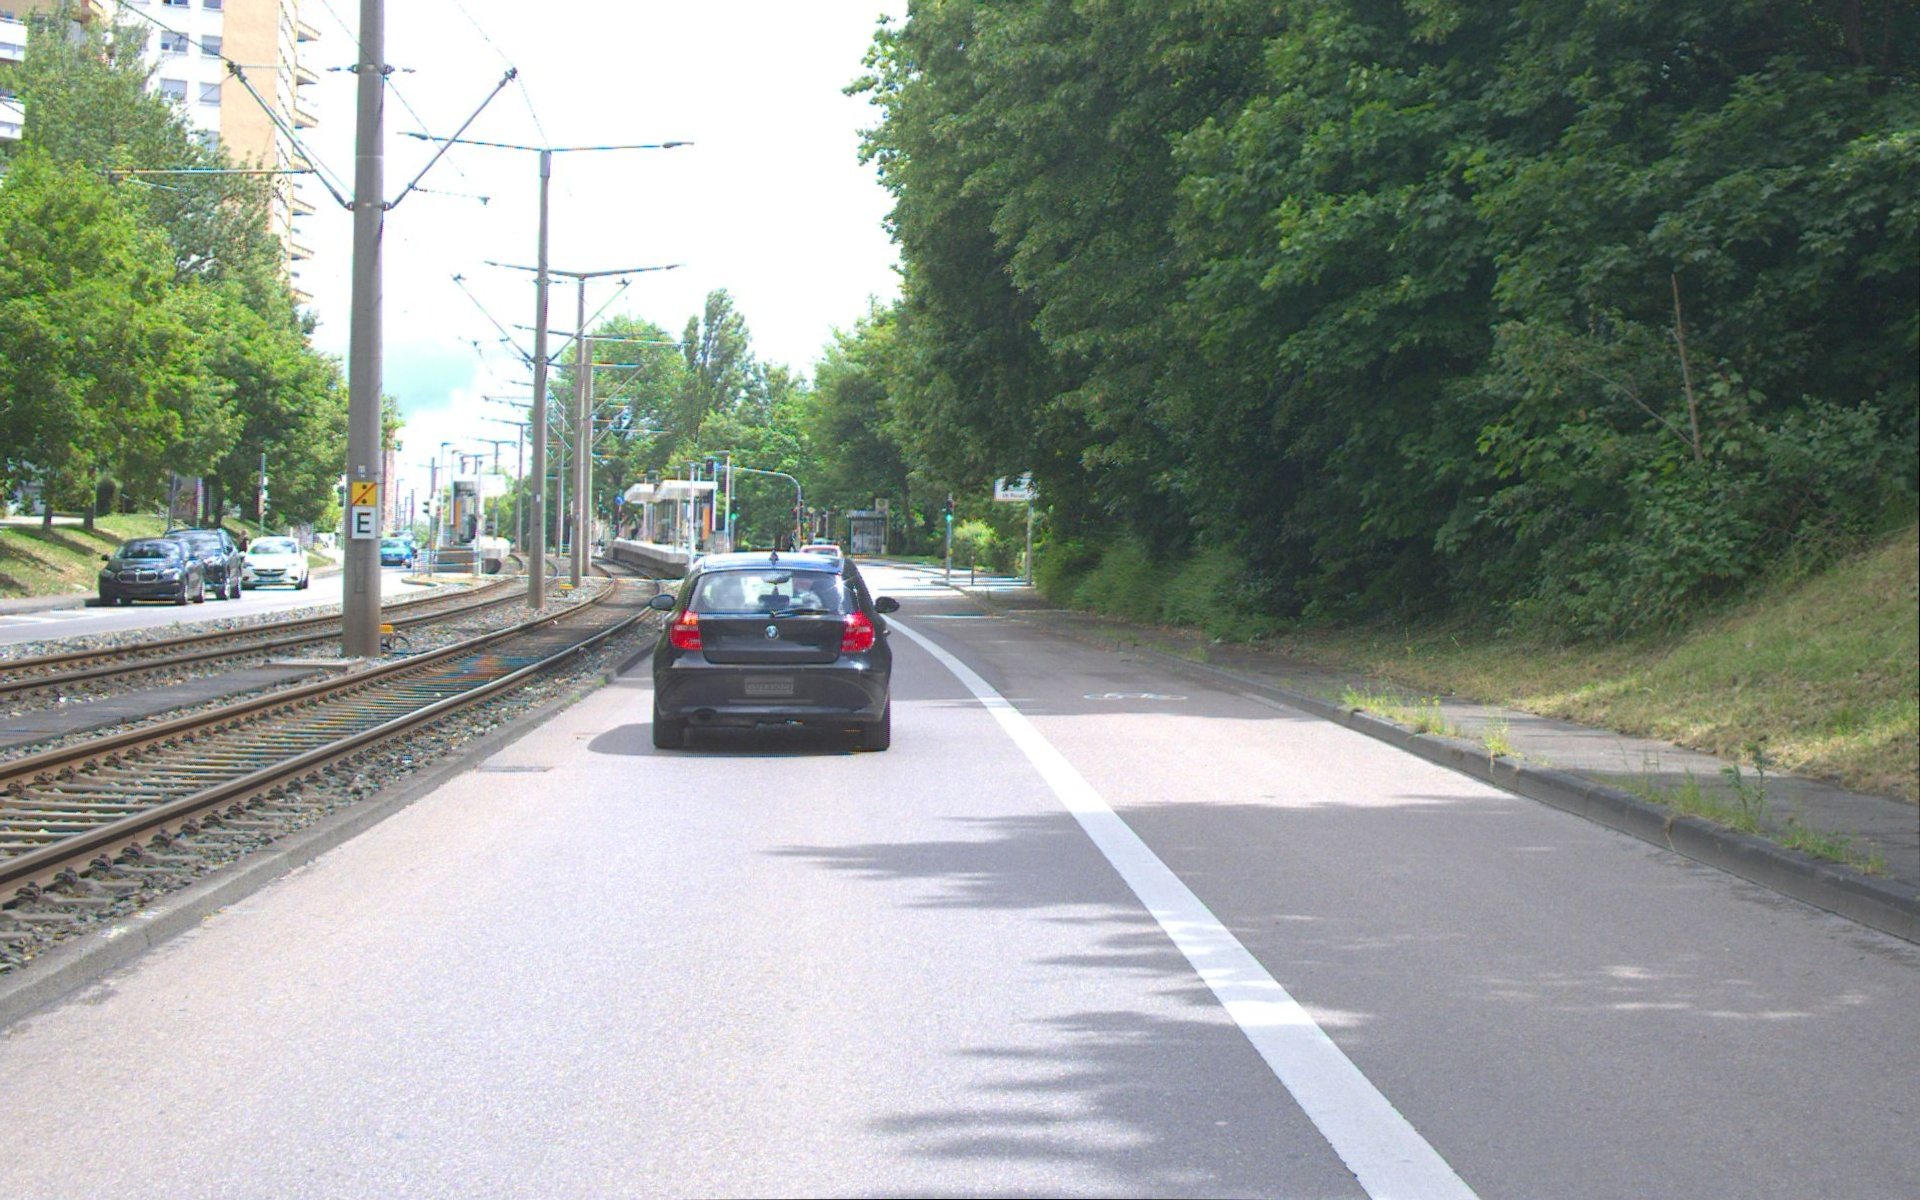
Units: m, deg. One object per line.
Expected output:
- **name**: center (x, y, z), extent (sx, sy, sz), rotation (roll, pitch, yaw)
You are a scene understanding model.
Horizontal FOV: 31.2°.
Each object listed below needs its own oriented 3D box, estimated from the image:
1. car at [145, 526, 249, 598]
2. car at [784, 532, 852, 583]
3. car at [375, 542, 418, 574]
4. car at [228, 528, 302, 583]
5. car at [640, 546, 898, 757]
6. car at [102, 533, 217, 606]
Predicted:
- **car**: center (-17.690, -0.877, 79.836), extent (1.774, 1.624, 4.383), rotation (0, 0, -5)
- **car**: center (-4.212, -1.254, 101.543), extent (1.781, 1.454, 3.922), rotation (1, 1, -6)
- **car**: center (-26.436, -1.968, 161.135), extent (1.715, 1.437, 3.944), rotation (1, 1, -13)
- **car**: center (-19.550, -1.263, 96.831), extent (1.781, 1.527, 4.245), rotation (0, 1, -8)
- **car**: center (-1.457, 0.324, 25.767), extent (1.781, 1.454, 3.922), rotation (0, 1, -4)
- **car**: center (-16.971, -0.661, 73.032), extent (1.774, 1.493, 3.998), rotation (1, 1, -5)
